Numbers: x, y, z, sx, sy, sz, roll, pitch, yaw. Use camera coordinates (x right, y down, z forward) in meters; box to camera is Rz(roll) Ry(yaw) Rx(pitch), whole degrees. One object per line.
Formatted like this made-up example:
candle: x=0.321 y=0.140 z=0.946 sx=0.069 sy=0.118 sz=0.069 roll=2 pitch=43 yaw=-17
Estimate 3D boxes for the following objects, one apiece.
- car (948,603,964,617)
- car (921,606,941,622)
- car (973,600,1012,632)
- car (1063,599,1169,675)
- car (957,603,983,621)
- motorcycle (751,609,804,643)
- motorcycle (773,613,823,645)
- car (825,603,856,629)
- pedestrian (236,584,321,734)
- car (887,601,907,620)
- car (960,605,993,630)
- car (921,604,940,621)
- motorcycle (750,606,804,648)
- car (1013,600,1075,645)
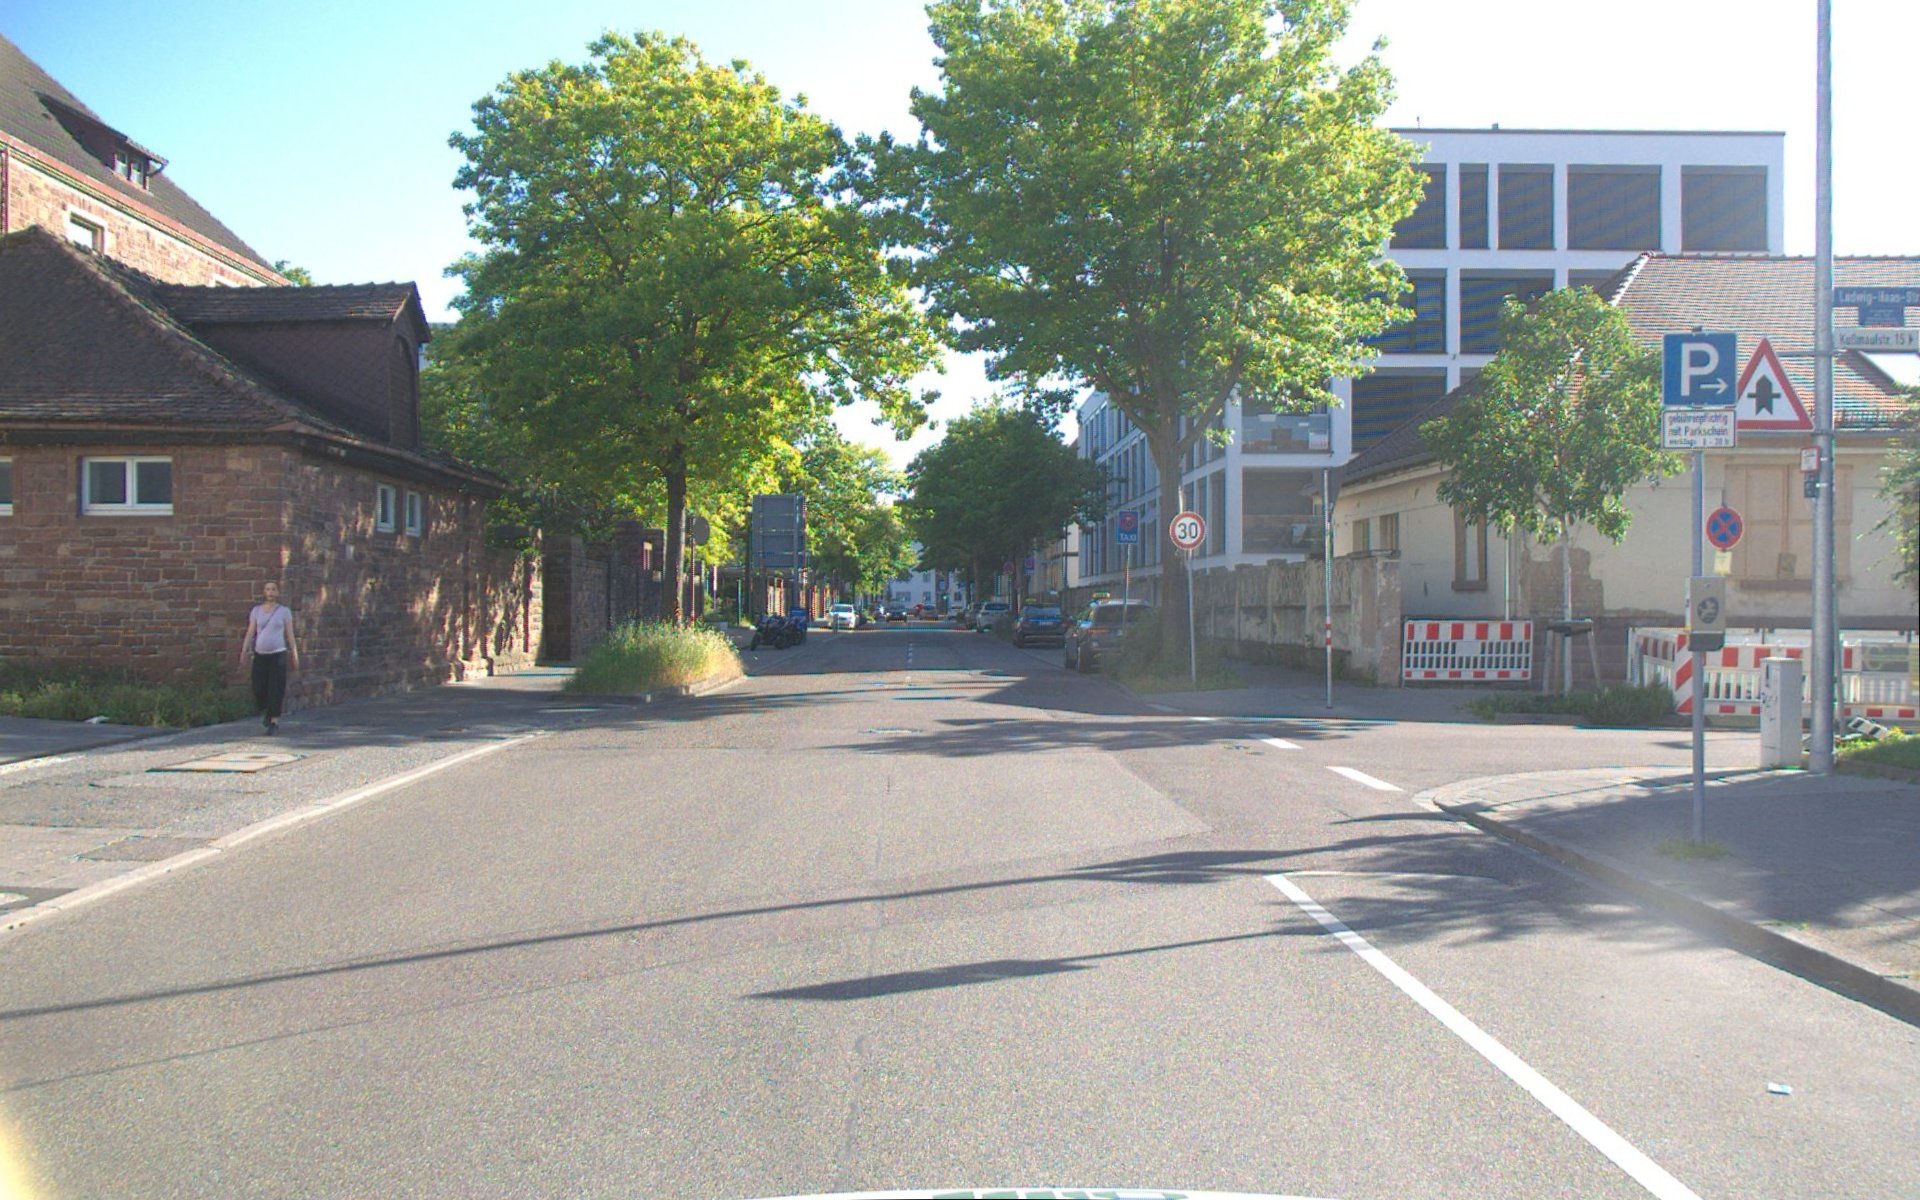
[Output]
car: x=-0.401 y=0.997 z=166.361 sx=1.553 sy=1.424 sz=3.836 roll=0 pitch=0 yaw=-1
car: x=-2.733 y=1.297 z=156.781 sx=1.851 sy=1.424 sz=3.836 roll=0 pitch=0 yaw=-1
car: x=1.664 y=0.830 z=85.170 sx=1.911 sy=1.606 sz=3.836 roll=0 pitch=0 yaw=-1
car: x=3.240 y=0.740 z=35.181 sx=1.669 sy=1.494 sz=4.787 roll=0 pitch=0 yaw=-2
car: x=0.788 y=0.945 z=132.634 sx=1.953 sy=1.450 sz=3.836 roll=0 pitch=0 yaw=-1
motorcycle: x=-5.981 y=0.844 z=54.271 sx=0.566 sy=1.093 sz=2.117 roll=0 pitch=0 yaw=31
motorcycle: x=-5.613 y=0.995 z=57.398 sx=0.566 sy=1.093 sz=2.117 roll=0 pitch=0 yaw=31
car: x=-6.987 y=0.937 z=97.045 sx=1.731 sy=1.513 sz=3.998 roll=0 pitch=0 yaw=-3
pedestrian: x=-7.449 y=0.622 z=18.124 sx=0.511 sy=1.590 sz=1.095 roll=0 pitch=0 yaw=-2
car: x=-5.321 y=0.902 z=140.644 sx=1.620 sy=1.557 sz=3.999 roll=0 pitch=0 yaw=-2
car: x=0.972 y=1.071 z=100.833 sx=1.953 sy=1.491 sz=3.836 roll=0 pitch=0 yaw=-1
car: x=-2.809 y=1.132 z=156.486 sx=1.731 sy=1.575 sz=4.064 roll=0 pitch=0 yaw=-3
motorcycle: x=-5.829 y=0.849 z=52.805 sx=0.566 sy=1.298 sz=2.117 roll=0 pitch=0 yaw=31
car: x=2.841 y=0.738 z=56.540 sx=1.731 sy=1.465 sz=3.998 roll=0 pitch=0 yaw=-3
